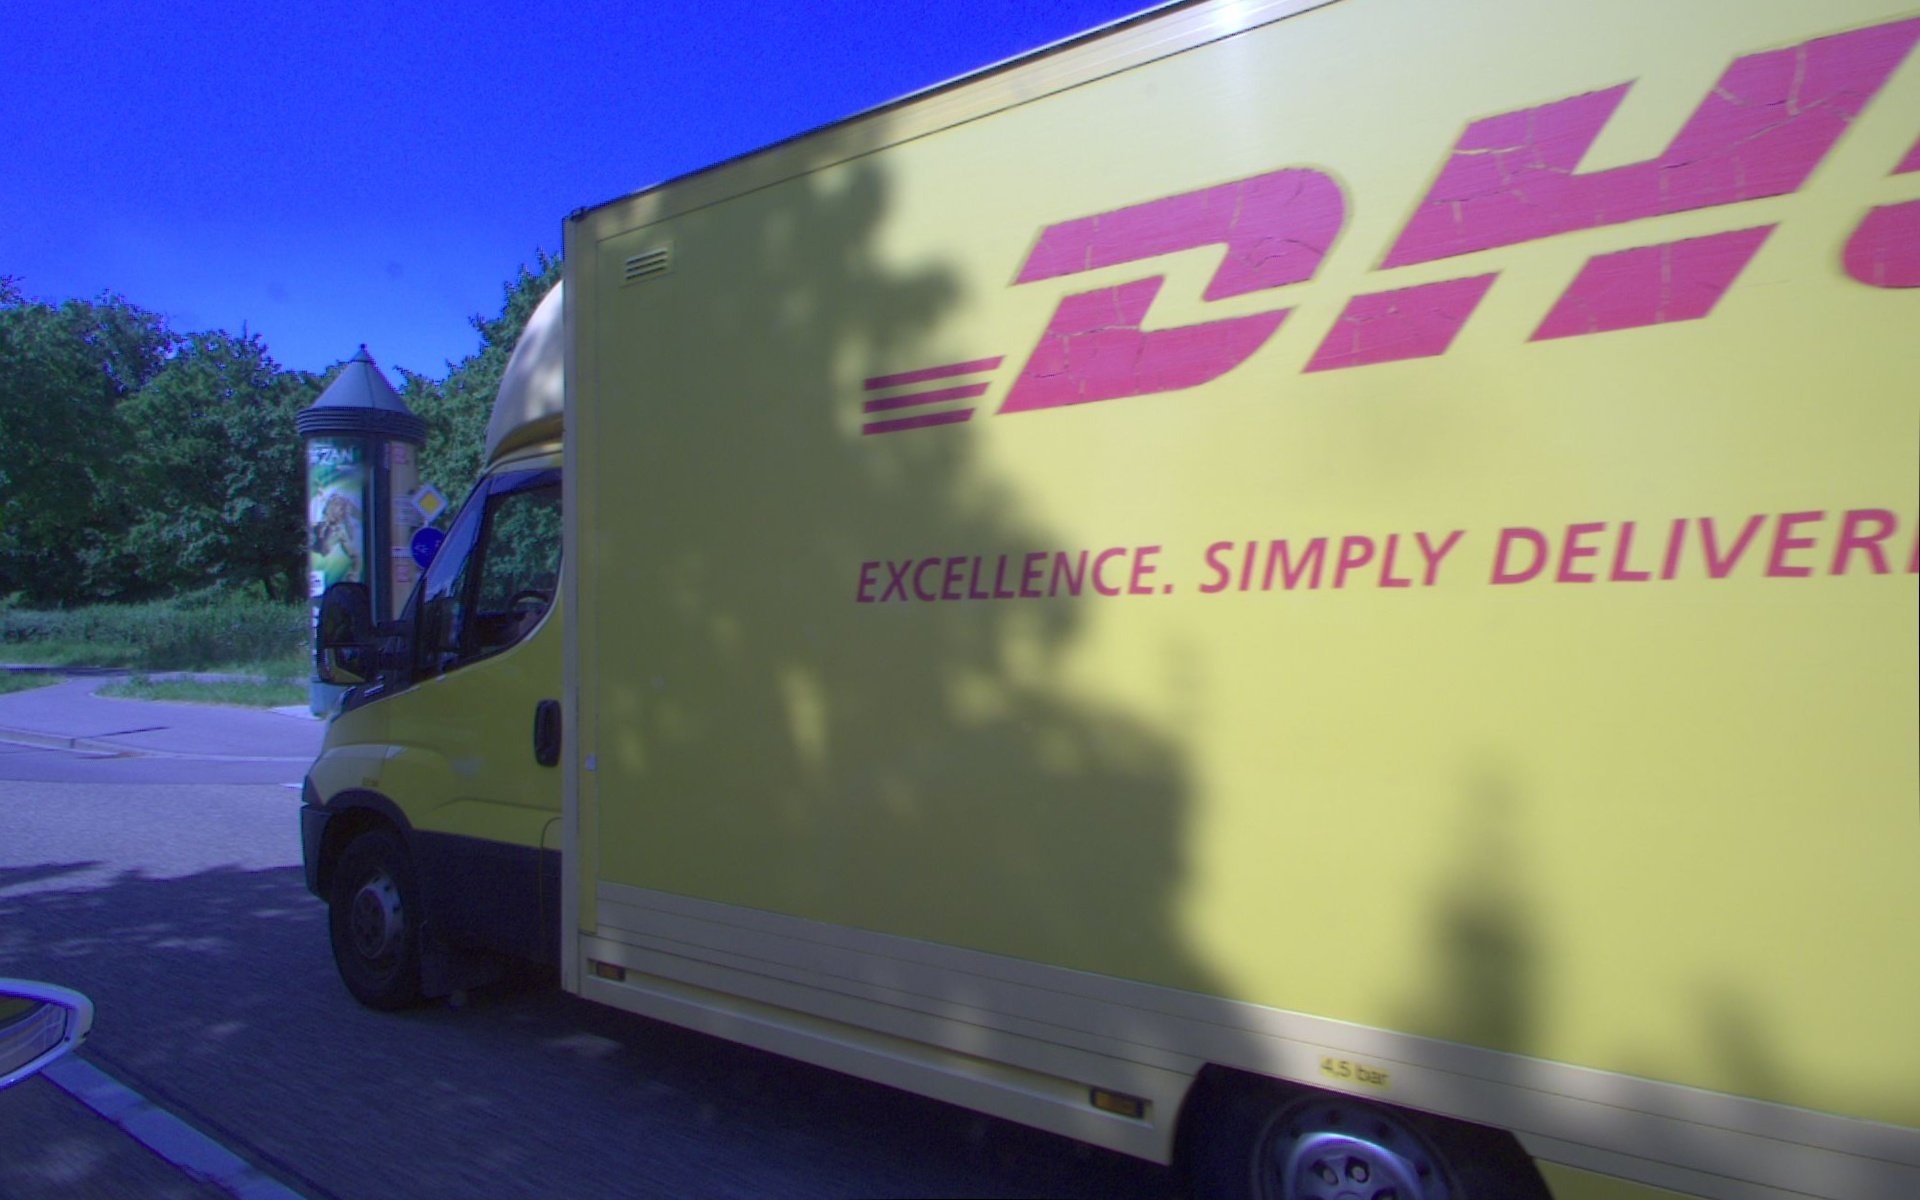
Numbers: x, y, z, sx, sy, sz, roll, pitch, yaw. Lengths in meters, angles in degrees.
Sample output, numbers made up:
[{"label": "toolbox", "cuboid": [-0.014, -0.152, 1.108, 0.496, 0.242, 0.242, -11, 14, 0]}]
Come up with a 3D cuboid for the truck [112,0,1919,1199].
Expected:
[{"label": "truck", "cuboid": [-0.275, 0.119, 3.857, 7.912, 2.917, 2.261, -1, -1, 32]}]
